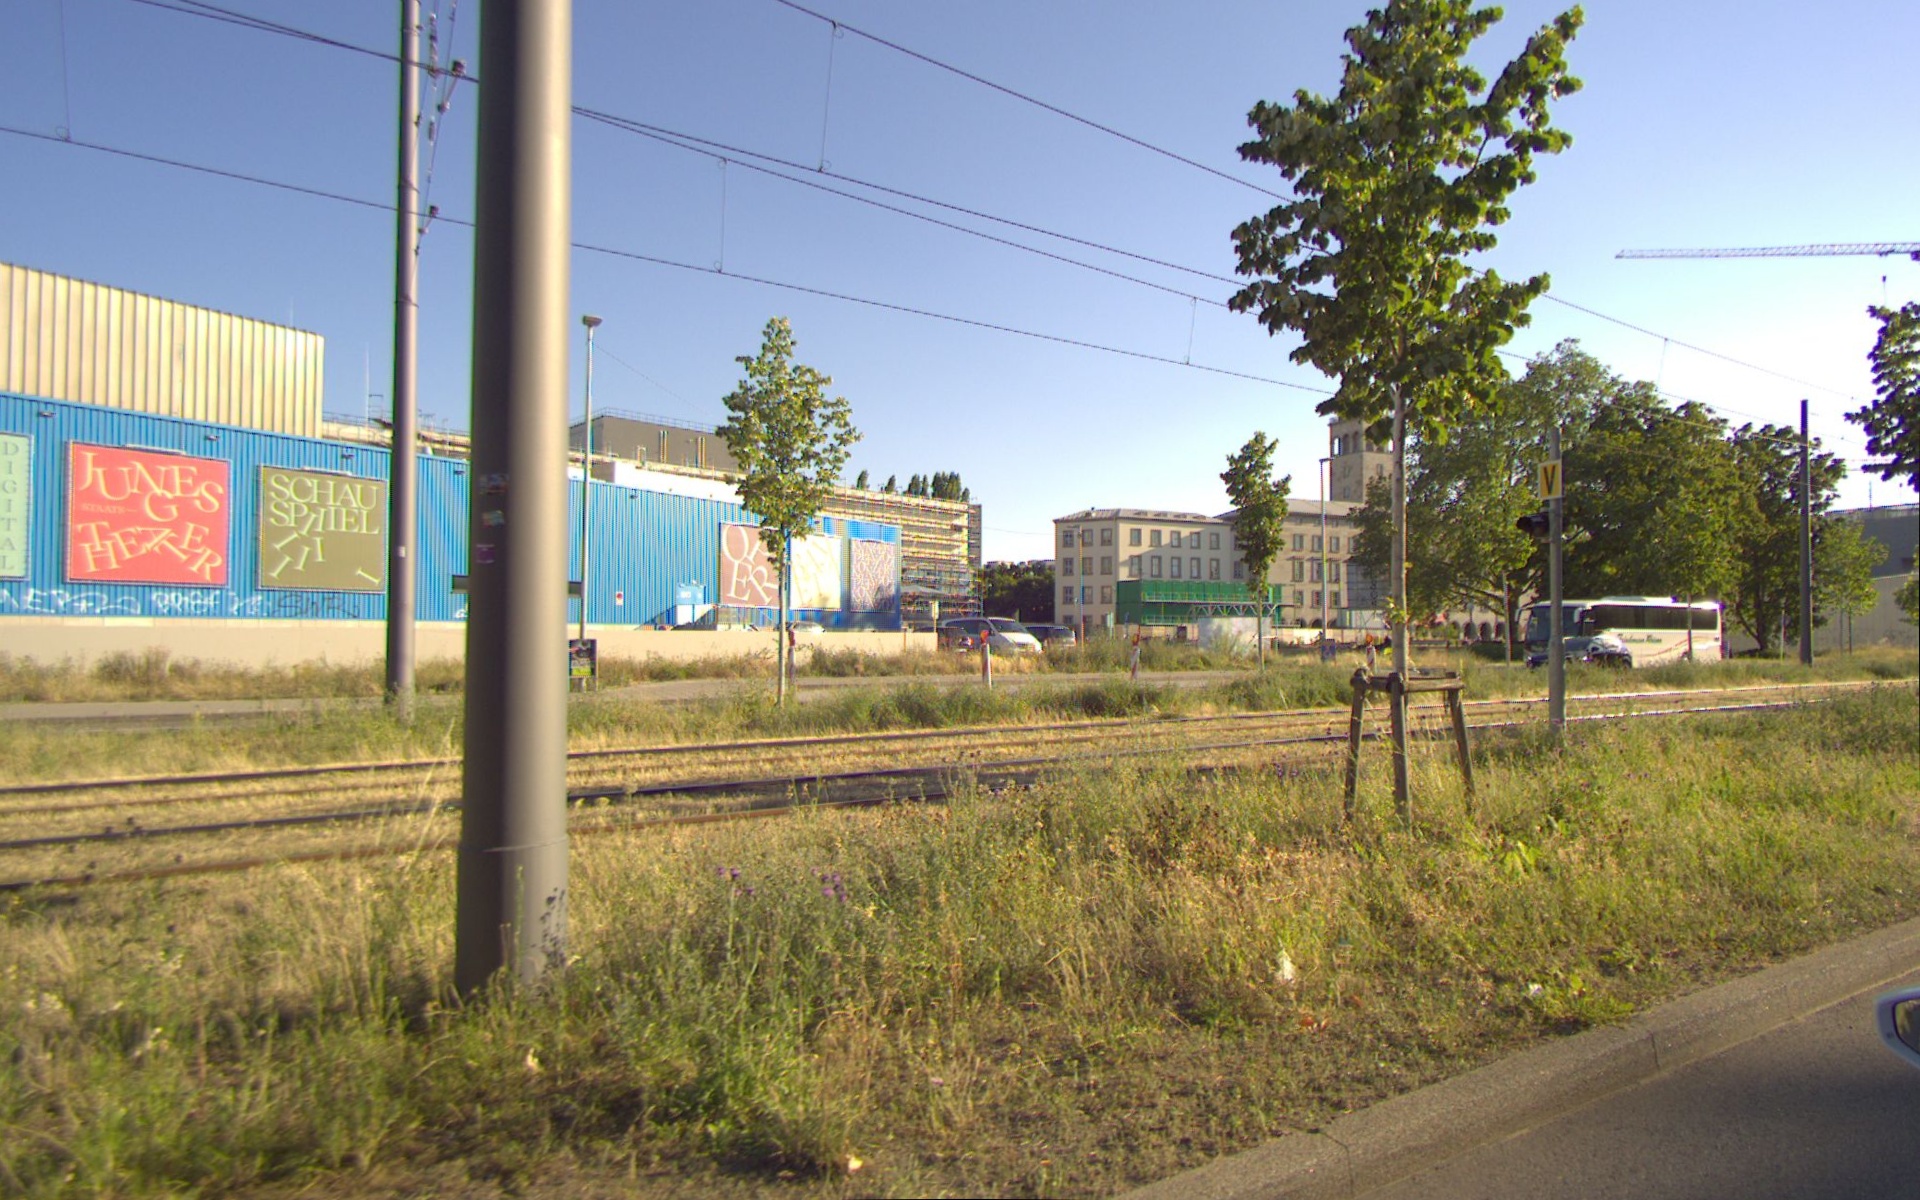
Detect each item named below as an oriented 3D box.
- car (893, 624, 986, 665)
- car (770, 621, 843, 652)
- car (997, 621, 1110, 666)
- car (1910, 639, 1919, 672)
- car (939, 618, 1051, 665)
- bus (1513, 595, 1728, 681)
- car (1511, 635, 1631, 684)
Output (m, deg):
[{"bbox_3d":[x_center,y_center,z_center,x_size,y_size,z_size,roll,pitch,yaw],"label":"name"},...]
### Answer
[{"bbox_3d":[-0.838,1.692,38.821,1.976,1.504,3.970,2,-2,-29],"label":"car"},{"bbox_3d":[-8.471,2.018,55.676,1.390,1.657,4.209,0,-2,37],"label":"car"},{"bbox_3d":[3.754,1.739,41.252,2.099,1.739,5.205,1,-2,-29],"label":"car"},{"bbox_3d":[51.814,2.916,52.491,4.116,1.664,1.986,2,-2,-29],"label":"car"},{"bbox_3d":[1.309,1.614,40.010,2.099,1.739,5.205,1,-2,-29],"label":"car"},{"bbox_3d":[30.959,1.780,46.796,12.540,3.642,2.788,2,-2,-28],"label":"bus"},{"bbox_3d":[22.421,2.142,36.822,4.220,1.672,1.985,2,-2,-30],"label":"car"}]
